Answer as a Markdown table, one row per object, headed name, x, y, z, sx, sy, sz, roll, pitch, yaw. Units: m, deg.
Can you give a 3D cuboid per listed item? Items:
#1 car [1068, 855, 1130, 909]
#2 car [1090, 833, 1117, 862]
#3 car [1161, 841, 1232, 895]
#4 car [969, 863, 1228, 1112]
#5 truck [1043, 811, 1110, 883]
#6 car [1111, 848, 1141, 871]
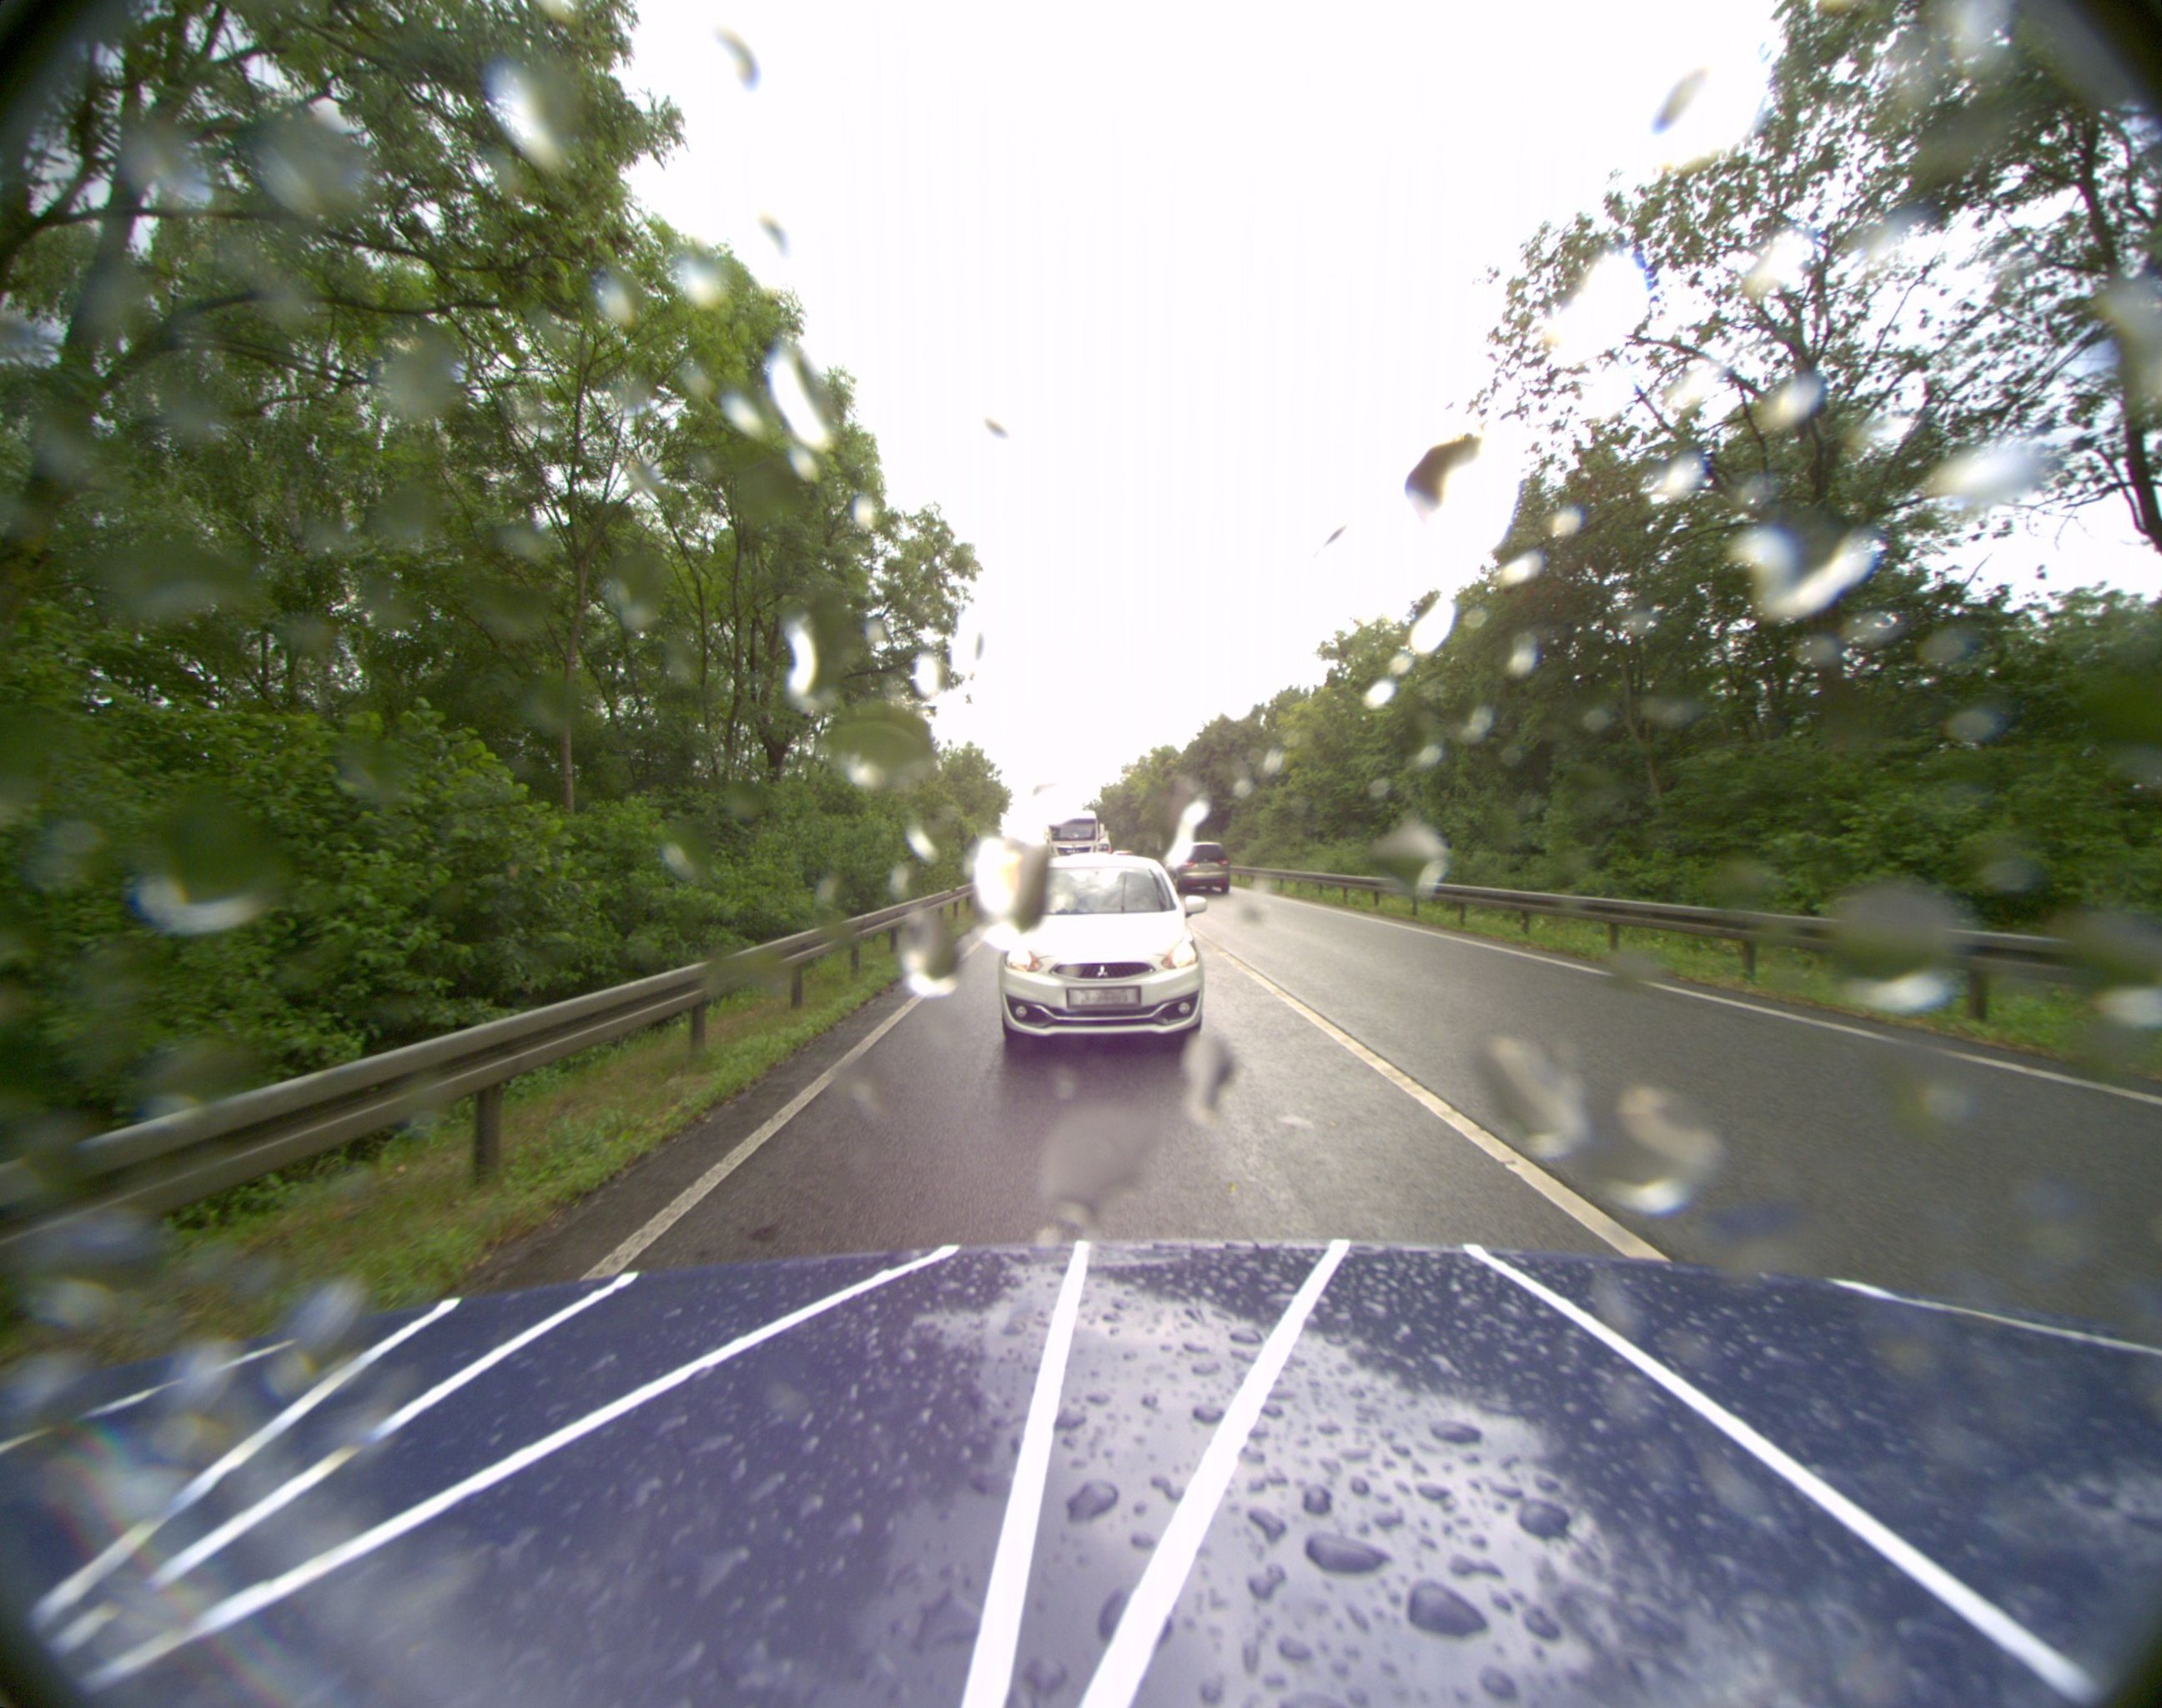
| name | x | y | z | sx | sy | sz | roll | pitch | yaw |
| --- | --- | --- | --- | --- | --- | --- | --- | --- | --- |
| car | 0.466 | 0.778 | 23.436 | 1.641 | 1.413 | 4.490 | -2 | 0 | -2 |
| car | 2.172 | -0.643 | 74.448 | 2.053 | 2.661 | 6.168 | -1 | 1 | -3 |
| car | 4.026 | 0.415 | 27.191 | 1.819 | 1.676 | 4.621 | -2 | 1 | 1 |
| car | 0.136 | 0.883 | 6.953 | 1.610 | 1.435 | 4.208 | -2 | 1 | 1 |
| truck | -0.403 | -0.448 | 41.134 | 3.137 | 3.364 | 9.279 | -2 | 1 | -2 |
| car | 3.086 | 0.328 | 52.483 | 1.733 | 1.423 | 3.848 | -2 | 1 | -2 |
